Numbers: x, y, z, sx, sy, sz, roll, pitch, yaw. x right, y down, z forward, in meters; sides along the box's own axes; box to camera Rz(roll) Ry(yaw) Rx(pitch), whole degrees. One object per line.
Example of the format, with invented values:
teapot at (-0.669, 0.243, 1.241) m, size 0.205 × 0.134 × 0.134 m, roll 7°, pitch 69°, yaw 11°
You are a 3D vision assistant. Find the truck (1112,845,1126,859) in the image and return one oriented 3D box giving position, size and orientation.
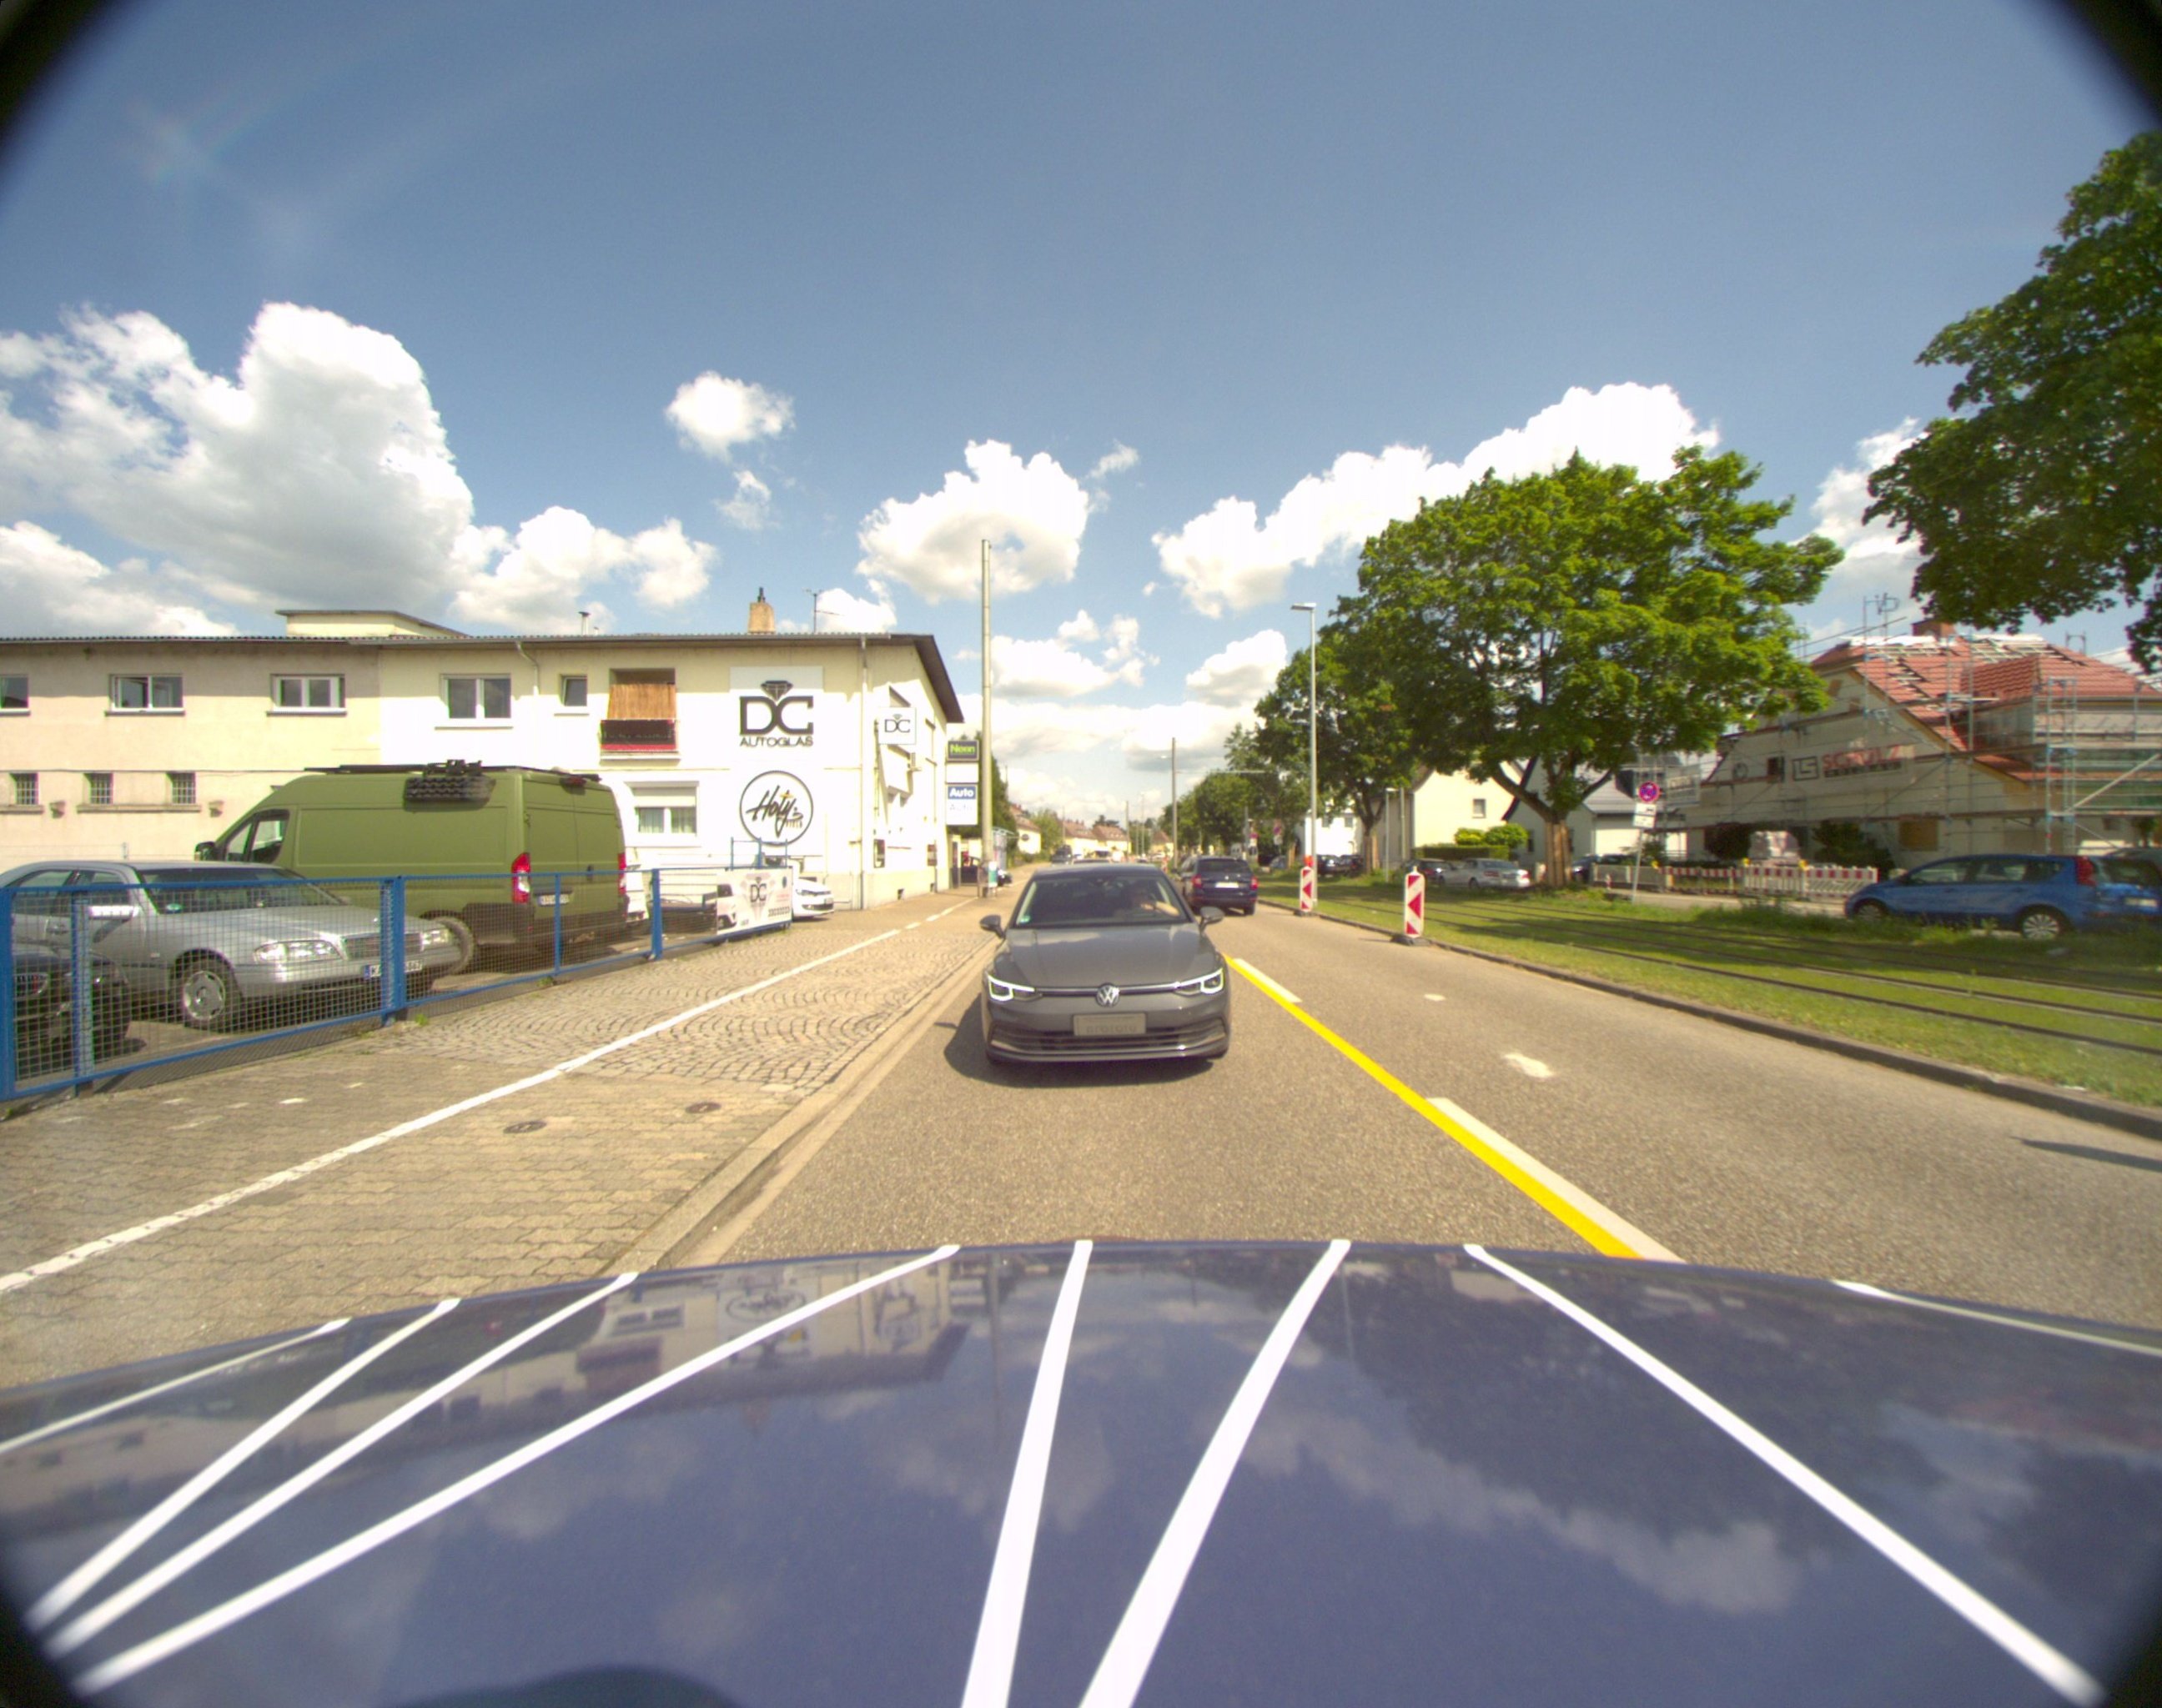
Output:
truck at (8.160, -0.463, 163.041) m, size 2.665 × 2.786 × 7.539 m, roll -2°, pitch 1°, yaw 3°

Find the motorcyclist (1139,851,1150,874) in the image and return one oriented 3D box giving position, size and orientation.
motorcyclist at (4.069, 0.551, 48.951) m, size 0.651 × 1.434 × 0.588 m, roll 0°, pitch 1°, yaw 1°

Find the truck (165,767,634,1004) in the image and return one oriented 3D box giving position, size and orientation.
truck at (-8.681, 0.370, 10.033) m, size 4.181 × 2.645 × 2.108 m, roll -2°, pitch 1°, yaw 2°

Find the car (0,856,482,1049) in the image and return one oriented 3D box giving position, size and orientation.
car at (-8.459, 0.863, 7.243) m, size 4.257 × 1.499 × 1.828 m, roll -2°, pitch 1°, yaw 8°

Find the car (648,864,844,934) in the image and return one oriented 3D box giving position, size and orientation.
car at (-7.527, 0.985, 17.256) m, size 3.725 × 1.350 × 1.518 m, roll -2°, pitch 1°, yaw 4°

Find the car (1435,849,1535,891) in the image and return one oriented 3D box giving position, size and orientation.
car at (16.519, 0.611, 31.326) m, size 1.707 × 1.504 × 4.523 m, roll -2°, pitch 1°, yaw 1°

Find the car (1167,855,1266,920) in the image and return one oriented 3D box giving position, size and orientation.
car at (3.428, 0.793, 20.074) m, size 1.715 × 1.478 × 4.535 m, roll 1°, pitch 0°, yaw -1°

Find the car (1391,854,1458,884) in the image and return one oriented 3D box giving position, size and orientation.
car at (16.700, 0.696, 37.125) m, size 1.624 × 1.235 × 3.786 m, roll -2°, pitch 1°, yaw 1°

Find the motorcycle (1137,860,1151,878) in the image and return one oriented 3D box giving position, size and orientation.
motorcycle at (4.041, 0.961, 48.837) m, size 0.706 × 1.036 × 2.465 m, roll 0°, pitch 1°, yaw 1°

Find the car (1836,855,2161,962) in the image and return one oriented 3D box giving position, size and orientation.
car at (16.292, 0.839, 13.595) m, size 1.672 × 1.504 × 3.930 m, roll -2°, pitch 1°, yaw 1°

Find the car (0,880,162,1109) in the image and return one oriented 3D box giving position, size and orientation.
car at (-8.758, 0.931, 4.778) m, size 4.257 × 1.366 × 1.741 m, roll -1°, pitch 1°, yaw 7°

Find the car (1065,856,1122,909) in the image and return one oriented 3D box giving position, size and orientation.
car at (0.381, 0.824, 23.831) m, size 1.594 × 1.418 × 3.707 m, roll -2°, pitch 1°, yaw 1°

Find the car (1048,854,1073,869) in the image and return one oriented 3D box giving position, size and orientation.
car at (-1.922, 0.725, 73.515) m, size 1.823 × 1.412 × 4.002 m, roll 0°, pitch 0°, yaw 7°

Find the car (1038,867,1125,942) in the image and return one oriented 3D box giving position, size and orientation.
car at (0.060, 0.952, 15.705) m, size 1.555 × 1.217 × 3.729 m, roll -2°, pitch 1°, yaw 1°

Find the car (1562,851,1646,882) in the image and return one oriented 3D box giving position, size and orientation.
car at (25.347, 0.593, 36.934) m, size 3.238 × 1.374 × 1.490 m, roll -2°, pitch 1°, yaw 30°

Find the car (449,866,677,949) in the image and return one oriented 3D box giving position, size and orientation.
car at (-8.846, 0.884, 13.108) m, size 3.033 × 1.267 × 1.332 m, roll 1°, pitch 1°, yaw 2°

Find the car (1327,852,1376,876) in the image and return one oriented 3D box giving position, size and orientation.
car at (16.613, 0.612, 46.857) m, size 1.636 × 1.294 × 3.999 m, roll -2°, pitch 1°, yaw 1°

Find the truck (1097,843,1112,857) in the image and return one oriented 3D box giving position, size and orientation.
truck at (5.006, -0.894, 158.136) m, size 2.631 × 2.872 × 7.925 m, roll -2°, pitch 1°, yaw 4°

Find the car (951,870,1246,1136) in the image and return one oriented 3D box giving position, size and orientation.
car at (0.163, 0.952, 6.783) m, size 1.743 × 1.410 × 4.381 m, roll -2°, pitch 1°, yaw 1°

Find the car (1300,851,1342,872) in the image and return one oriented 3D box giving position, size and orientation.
car at (16.628, 0.524, 52.855) m, size 1.636 × 1.294 × 3.999 m, roll -2°, pitch 1°, yaw 1°
